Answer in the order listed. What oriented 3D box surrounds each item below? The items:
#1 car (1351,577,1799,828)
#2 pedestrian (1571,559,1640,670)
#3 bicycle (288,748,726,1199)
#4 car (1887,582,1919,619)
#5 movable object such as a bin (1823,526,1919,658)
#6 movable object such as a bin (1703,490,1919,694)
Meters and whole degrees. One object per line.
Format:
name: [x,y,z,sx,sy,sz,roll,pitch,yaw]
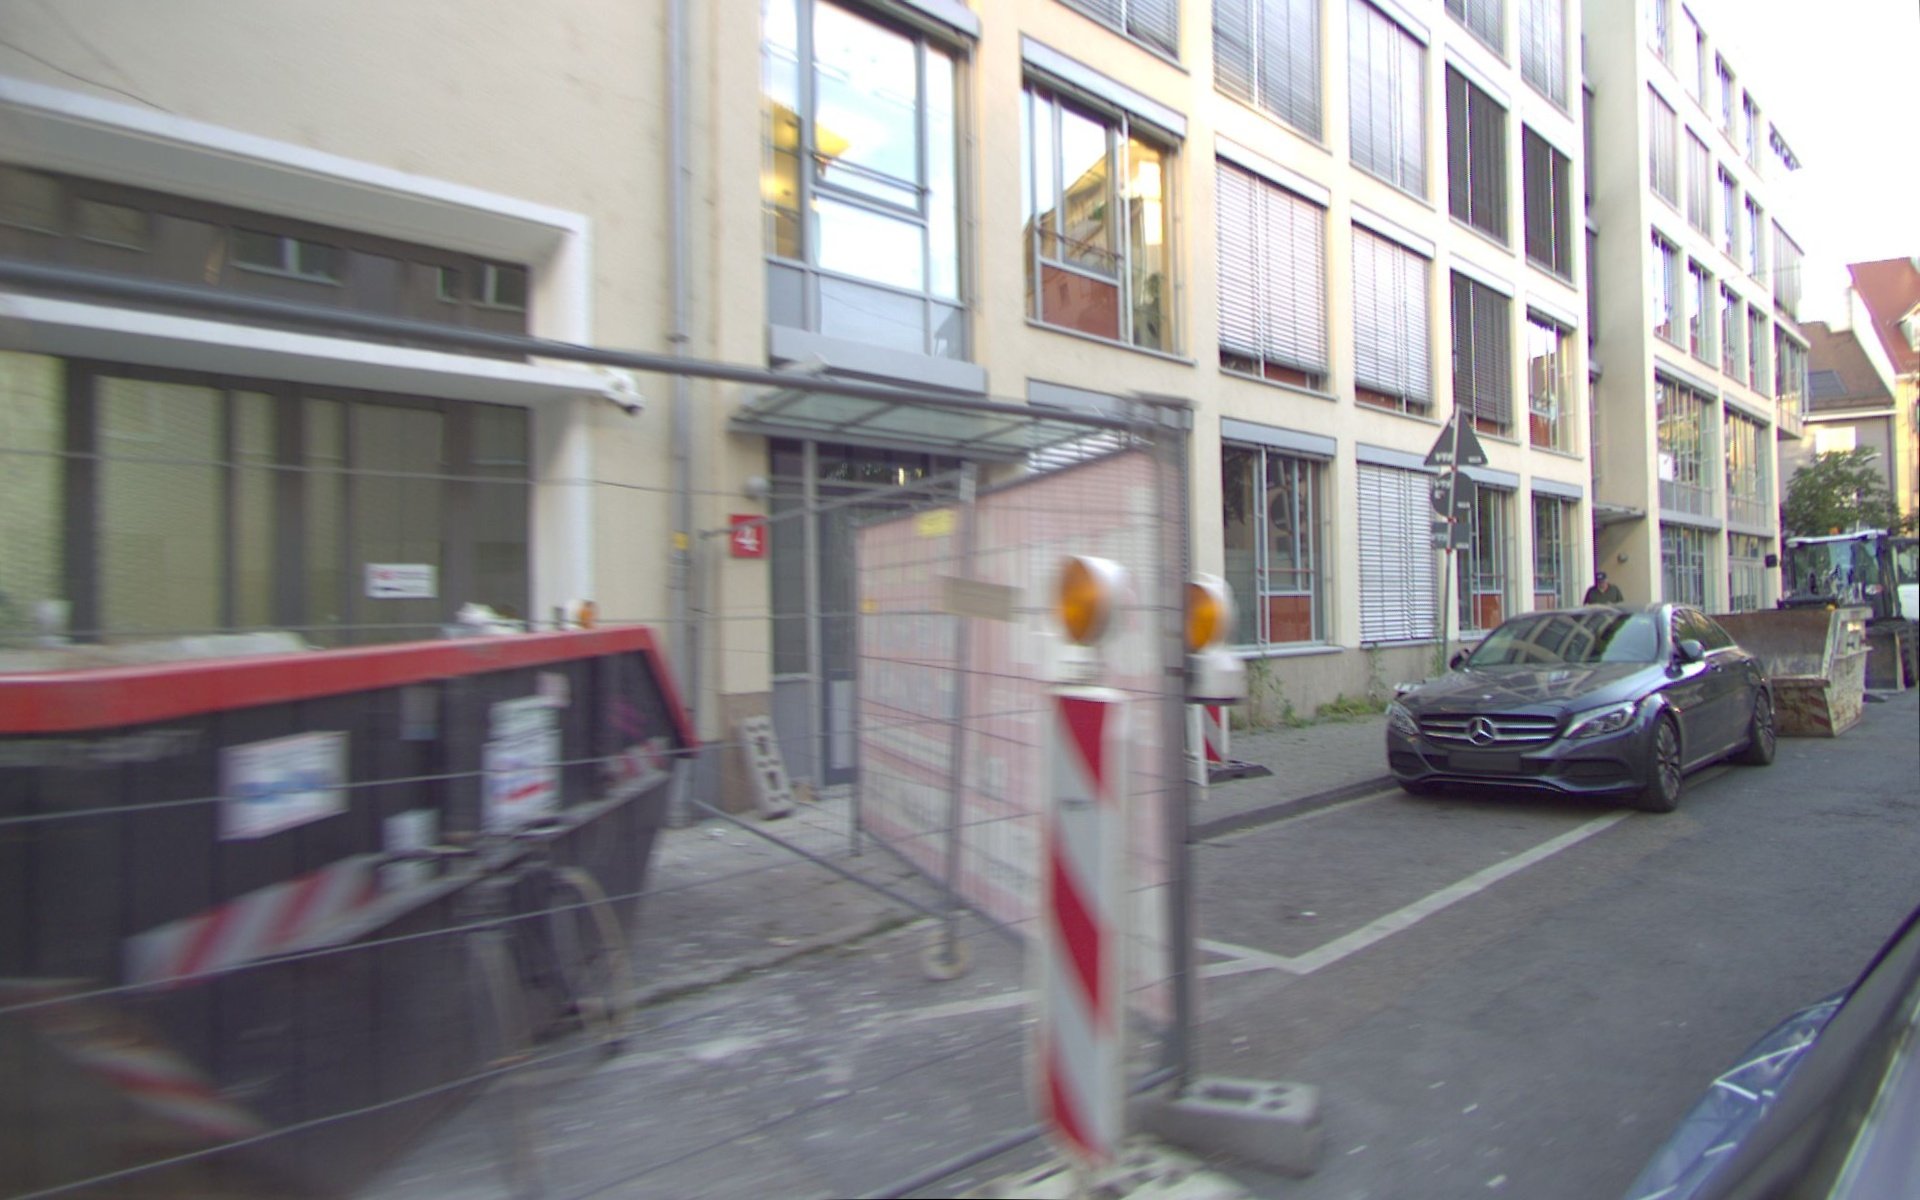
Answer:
car: [5.146,0.628,8.203,4.368,1.490,1.789,-1,-2,-41]
pedestrian: [10.960,0.232,17.198,0.709,1.842,0.806,-1,0,-41]
bicycle: [-1.204,1.037,3.111,0.451,0.920,1.805,-1,-1,3]
car: [42.631,0.002,44.612,1.617,1.468,3.823,-1,2,27]
movable object such as a bin: [21.392,-0.201,22.737,5.650,2.657,2.019,-1,-2,-40]
movable object such as a bin: [13.695,-0.081,15.781,5.649,2.657,2.019,0,-3,-40]
